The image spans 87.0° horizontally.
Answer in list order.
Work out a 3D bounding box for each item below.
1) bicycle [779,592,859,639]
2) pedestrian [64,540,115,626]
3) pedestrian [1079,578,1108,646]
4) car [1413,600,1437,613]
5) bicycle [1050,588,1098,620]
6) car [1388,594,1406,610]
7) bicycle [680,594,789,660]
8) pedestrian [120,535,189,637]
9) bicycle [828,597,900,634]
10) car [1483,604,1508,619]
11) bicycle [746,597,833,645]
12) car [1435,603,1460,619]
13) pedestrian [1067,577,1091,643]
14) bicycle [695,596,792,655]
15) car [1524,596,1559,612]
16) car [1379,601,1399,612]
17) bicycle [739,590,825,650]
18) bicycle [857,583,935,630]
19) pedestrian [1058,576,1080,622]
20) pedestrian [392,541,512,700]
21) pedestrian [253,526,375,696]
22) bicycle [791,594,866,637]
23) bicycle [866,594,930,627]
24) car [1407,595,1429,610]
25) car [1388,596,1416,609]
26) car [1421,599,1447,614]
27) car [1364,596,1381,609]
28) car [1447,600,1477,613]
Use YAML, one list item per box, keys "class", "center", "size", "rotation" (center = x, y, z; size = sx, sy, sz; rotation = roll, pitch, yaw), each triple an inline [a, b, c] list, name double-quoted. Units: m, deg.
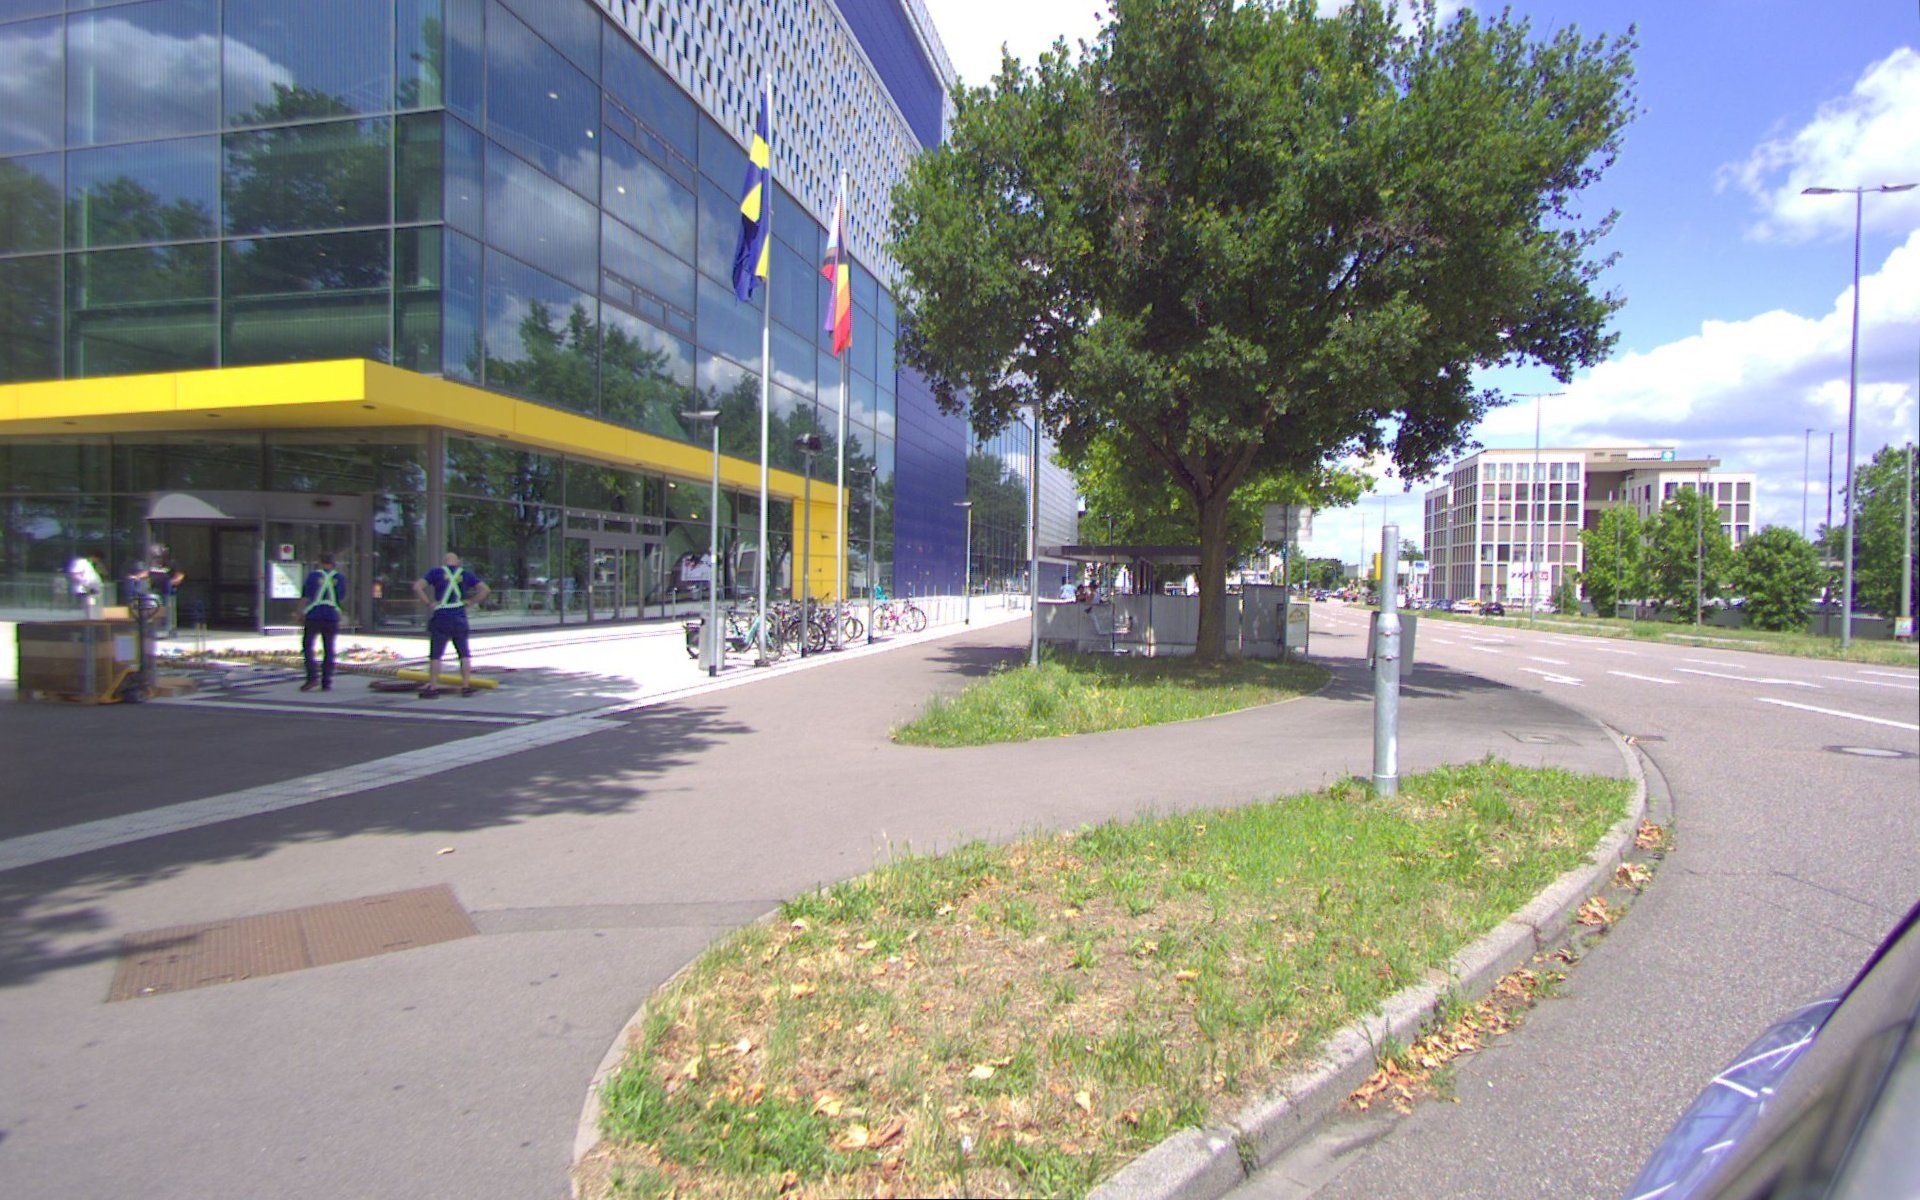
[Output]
- class: "bicycle"
  center: [-3.407, 0.369, 24.476]
  size: [1.838, 1.007, 0.422]
  rotation: [3, 2, 11]
- class: "pedestrian"
  center: [-19.637, -0.387, 22.828]
  size: [0.773, 1.909, 0.613]
  rotation: [1, 1, 24]
- class: "pedestrian"
  center: [3.343, 0.290, 25.380]
  size: [0.540, 1.683, 0.541]
  rotation: [1, 0, 26]
- class: "car"
  center: [53.689, 0.796, 116.867]
  size: [1.773, 1.420, 4.819]
  rotation: [2, 0, 16]
- class: "bicycle"
  center: [4.378, 0.159, 38.897]
  size: [0.566, 1.121, 2.014]
  rotation: [2, 2, -37]
- class: "car"
  center: [59.071, 0.325, 136.727]
  size: [1.839, 2.069, 3.555]
  rotation: [2, 0, 18]
- class: "bicycle"
  center: [-4.155, 0.497, 18.734]
  size: [1.888, 1.121, 0.505]
  rotation: [2, 2, -3]
- class: "pedestrian"
  center: [-15.621, -0.266, 19.643]
  size: [0.955, 1.910, 0.887]
  rotation: [1, 0, -36]
- class: "bicycle"
  center: [-2.542, 0.406, 26.892]
  size: [1.838, 0.893, 0.422]
  rotation: [3, 1, 11]
- class: "car"
  center: [55.402, 1.182, 104.728]
  size: [1.604, 1.488, 4.090]
  rotation: [2, 0, 19]
- class: "bicycle"
  center: [-3.766, 0.460, 22.394]
  size: [1.838, 1.007, 0.463]
  rotation: [1, 0, 11]
- class: "car"
  center: [49.298, 1.117, 102.331]
  size: [1.721, 1.493, 3.656]
  rotation: [2, 2, 17]
- class: "pedestrian"
  center: [3.094, 0.252, 26.389]
  size: [0.538, 1.683, 0.476]
  rotation: [1, 0, 13]
- class: "bicycle"
  center: [-4.287, 0.491, 20.022]
  size: [1.843, 1.007, 0.421]
  rotation: [4, 1, 17]
- class: "car"
  center: [82.449, 0.531, 143.612]
  size: [3.949, 2.039, 1.988]
  rotation: [2, 0, 19]
- class: "car"
  center: [53.328, 0.759, 125.920]
  size: [1.773, 1.267, 4.284]
  rotation: [2, 0, 16]
- class: "bicycle"
  center: [-3.672, 0.401, 20.916]
  size: [1.650, 1.172, 0.461]
  rotation: [2, 0, 1]
- class: "bicycle"
  center: [-1.855, 0.173, 29.184]
  size: [2.125, 1.245, 0.715]
  rotation: [3, 1, 25]
- class: "pedestrian"
  center: [4.216, -0.044, 39.175]
  size: [0.623, 1.742, 0.525]
  rotation: [0, 2, -35]
- class: "pedestrian"
  center: [-6.458, 0.226, 12.884]
  size: [1.002, 1.926, 0.964]
  rotation: [1, 1, 29]
- class: "pedestrian"
  center: [-8.413, 0.106, 13.198]
  size: [1.002, 2.097, 0.964]
  rotation: [1, 3, 30]
- class: "bicycle"
  center: [-3.331, 0.379, 25.661]
  size: [1.838, 1.007, 0.422]
  rotation: [2, 1, 11]
- class: "bicycle"
  center: [-1.856, 0.313, 30.387]
  size: [1.842, 0.893, 0.468]
  rotation: [2, 0, 16]
- class: "car"
  center: [55.748, 0.304, 123.236]
  size: [1.773, 1.723, 4.204]
  rotation: [2, 0, 16]
- class: "car"
  center: [56.995, 0.269, 130.434]
  size: [1.762, 1.580, 3.772]
  rotation: [2, 0, -2]
- class: "car"
  center: [51.637, 0.734, 110.376]
  size: [1.773, 1.435, 4.650]
  rotation: [3, 1, 16]
- class: "car"
  center: [56.078, 0.371, 137.691]
  size: [1.774, 1.665, 4.146]
  rotation: [2, 0, 18]
- class: "car"
  center: [59.288, 0.749, 119.575]
  size: [1.596, 1.491, 4.352]
  rotation: [2, 0, 6]
